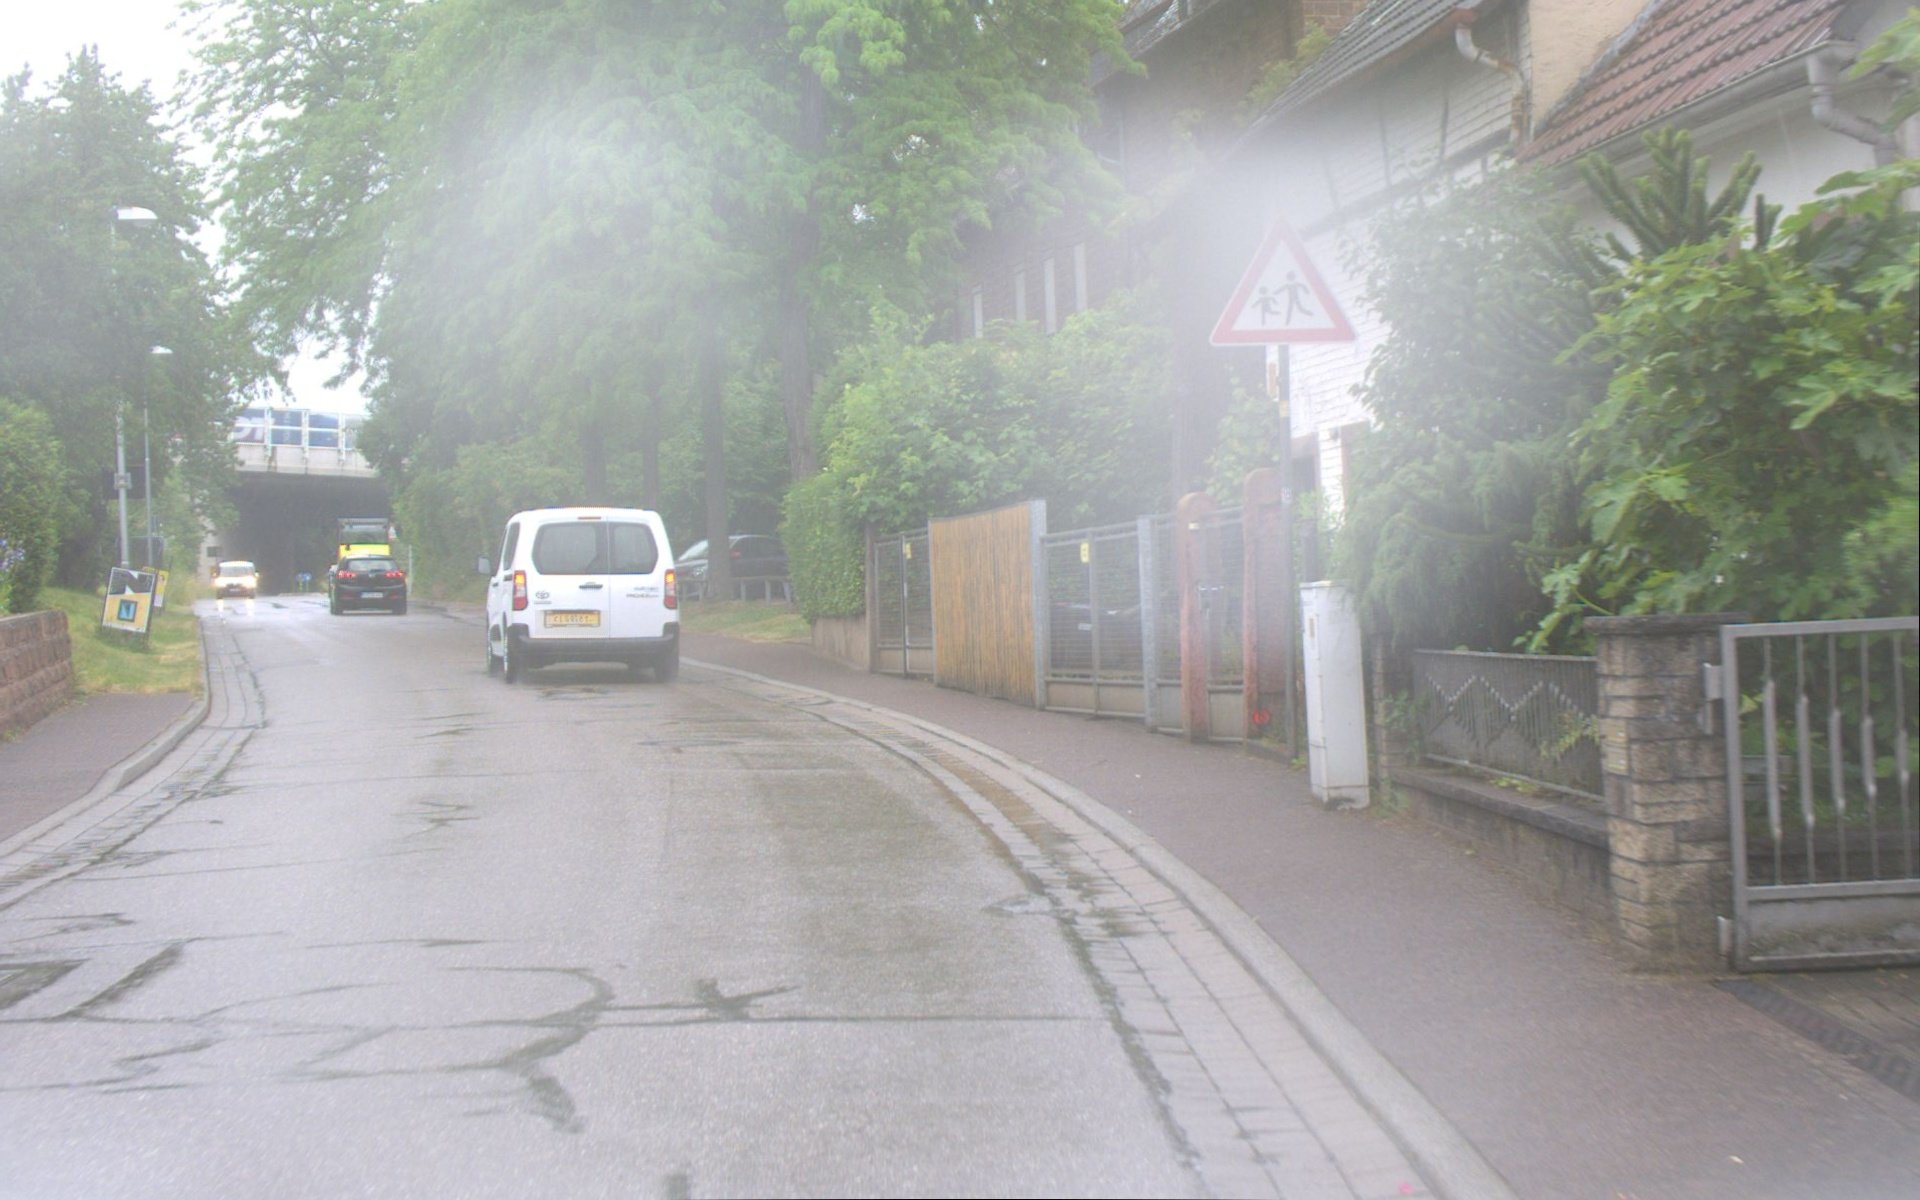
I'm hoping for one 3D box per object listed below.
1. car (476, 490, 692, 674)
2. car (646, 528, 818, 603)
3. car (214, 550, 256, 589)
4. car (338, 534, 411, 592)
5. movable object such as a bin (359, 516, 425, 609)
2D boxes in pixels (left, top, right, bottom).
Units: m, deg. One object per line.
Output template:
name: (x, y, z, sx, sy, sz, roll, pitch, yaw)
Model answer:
car: (-4.068, -0.220, 36.692, 1.896, 1.800, 4.001, -2, 1, -11)
car: (-4.961, -0.764, 75.034, 1.620, 1.546, 3.604, -2, 0, 42)
car: (-34.436, -1.447, 163.199, 1.823, 1.825, 4.308, 0, 0, -13)
car: (-14.266, -0.895, 83.850, 1.708, 1.373, 4.001, 0, 0, -9)
movable object such as a bin: (-15.773, -1.020, 95.501, 1.761, 2.539, 4.240, 0, 0, -9)
